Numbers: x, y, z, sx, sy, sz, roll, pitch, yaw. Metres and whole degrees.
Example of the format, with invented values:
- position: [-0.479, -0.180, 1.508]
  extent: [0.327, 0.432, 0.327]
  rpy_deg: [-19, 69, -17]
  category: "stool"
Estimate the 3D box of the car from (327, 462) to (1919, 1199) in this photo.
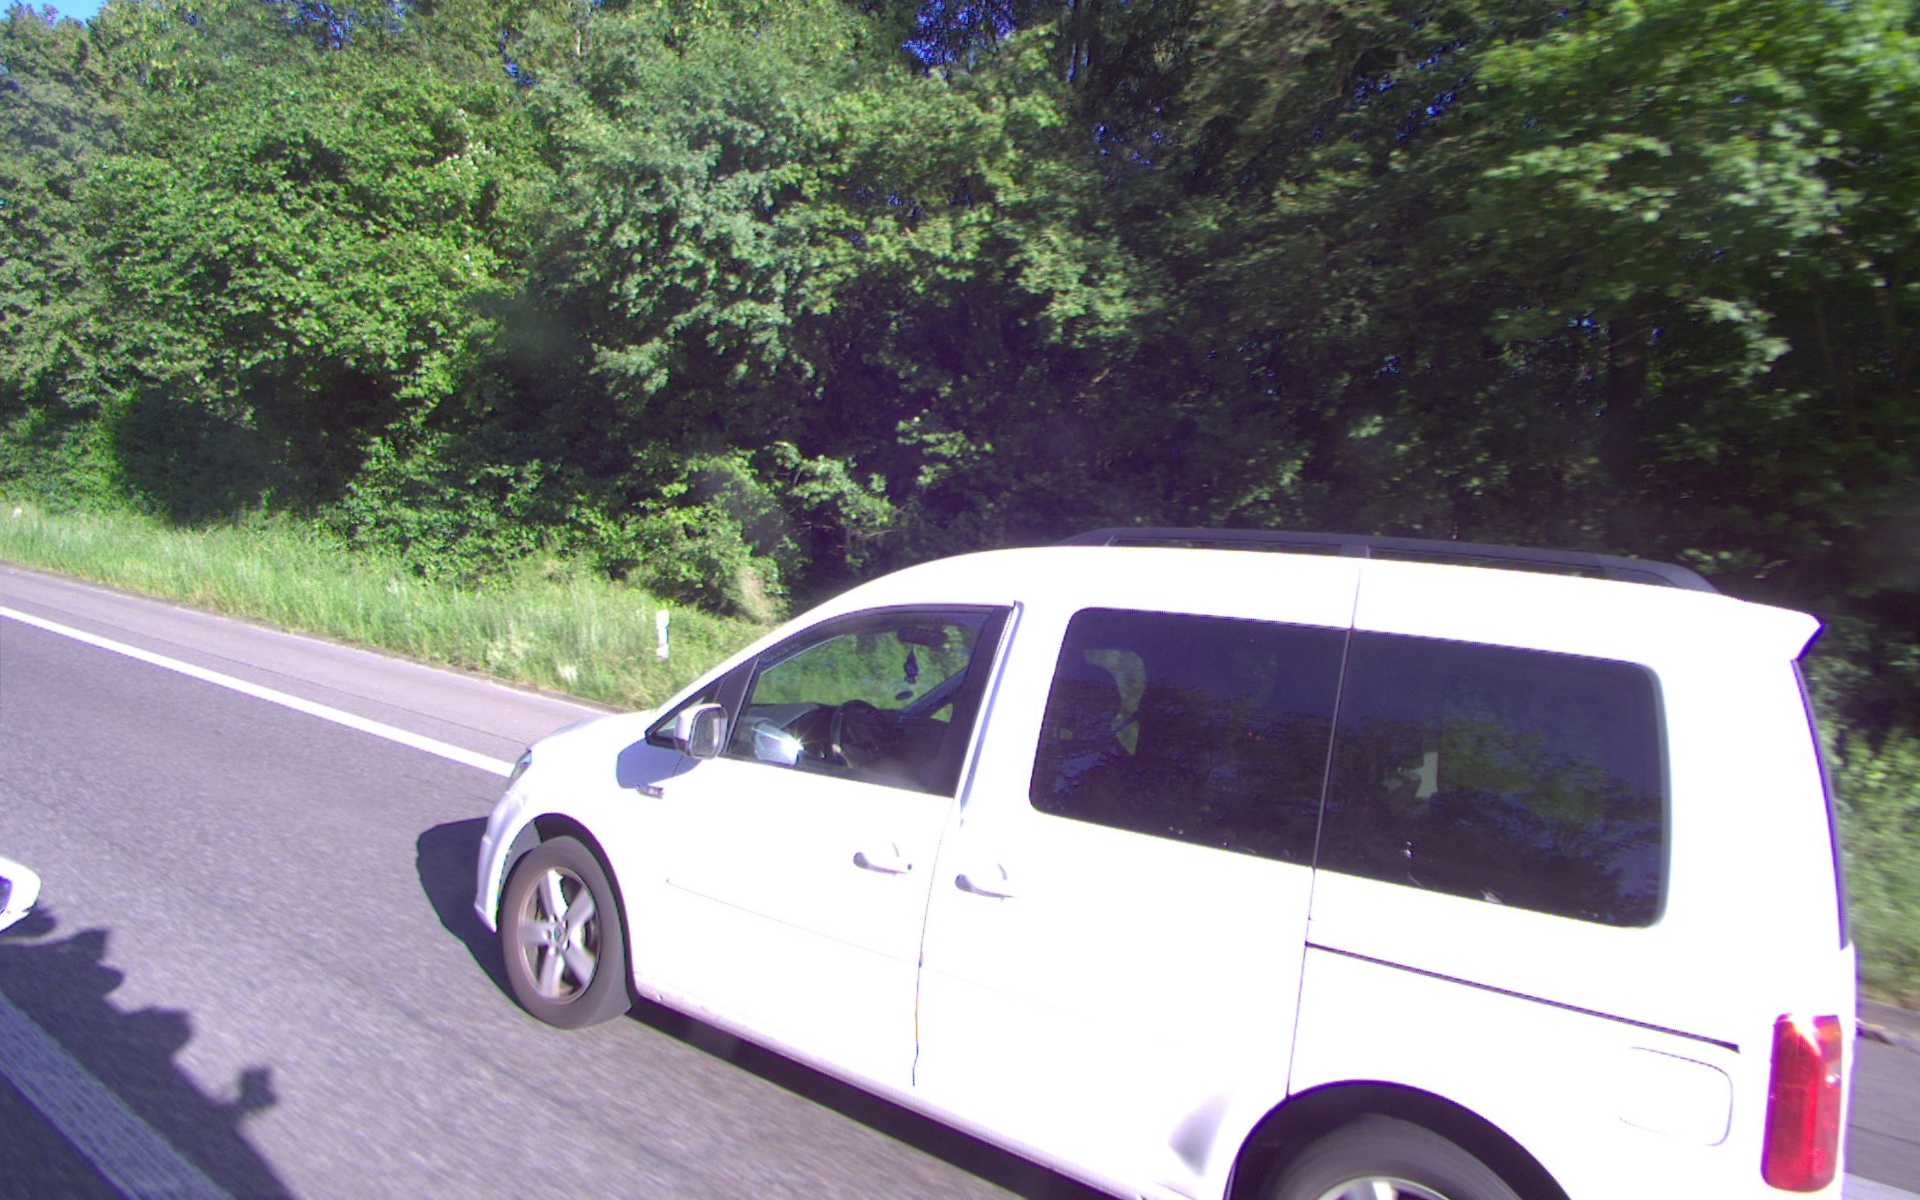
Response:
- position: [-0.010, 0.664, 3.570]
  extent: [4.511, 1.834, 1.802]
  rpy_deg: [6, -2, 31]
  category: "car"
